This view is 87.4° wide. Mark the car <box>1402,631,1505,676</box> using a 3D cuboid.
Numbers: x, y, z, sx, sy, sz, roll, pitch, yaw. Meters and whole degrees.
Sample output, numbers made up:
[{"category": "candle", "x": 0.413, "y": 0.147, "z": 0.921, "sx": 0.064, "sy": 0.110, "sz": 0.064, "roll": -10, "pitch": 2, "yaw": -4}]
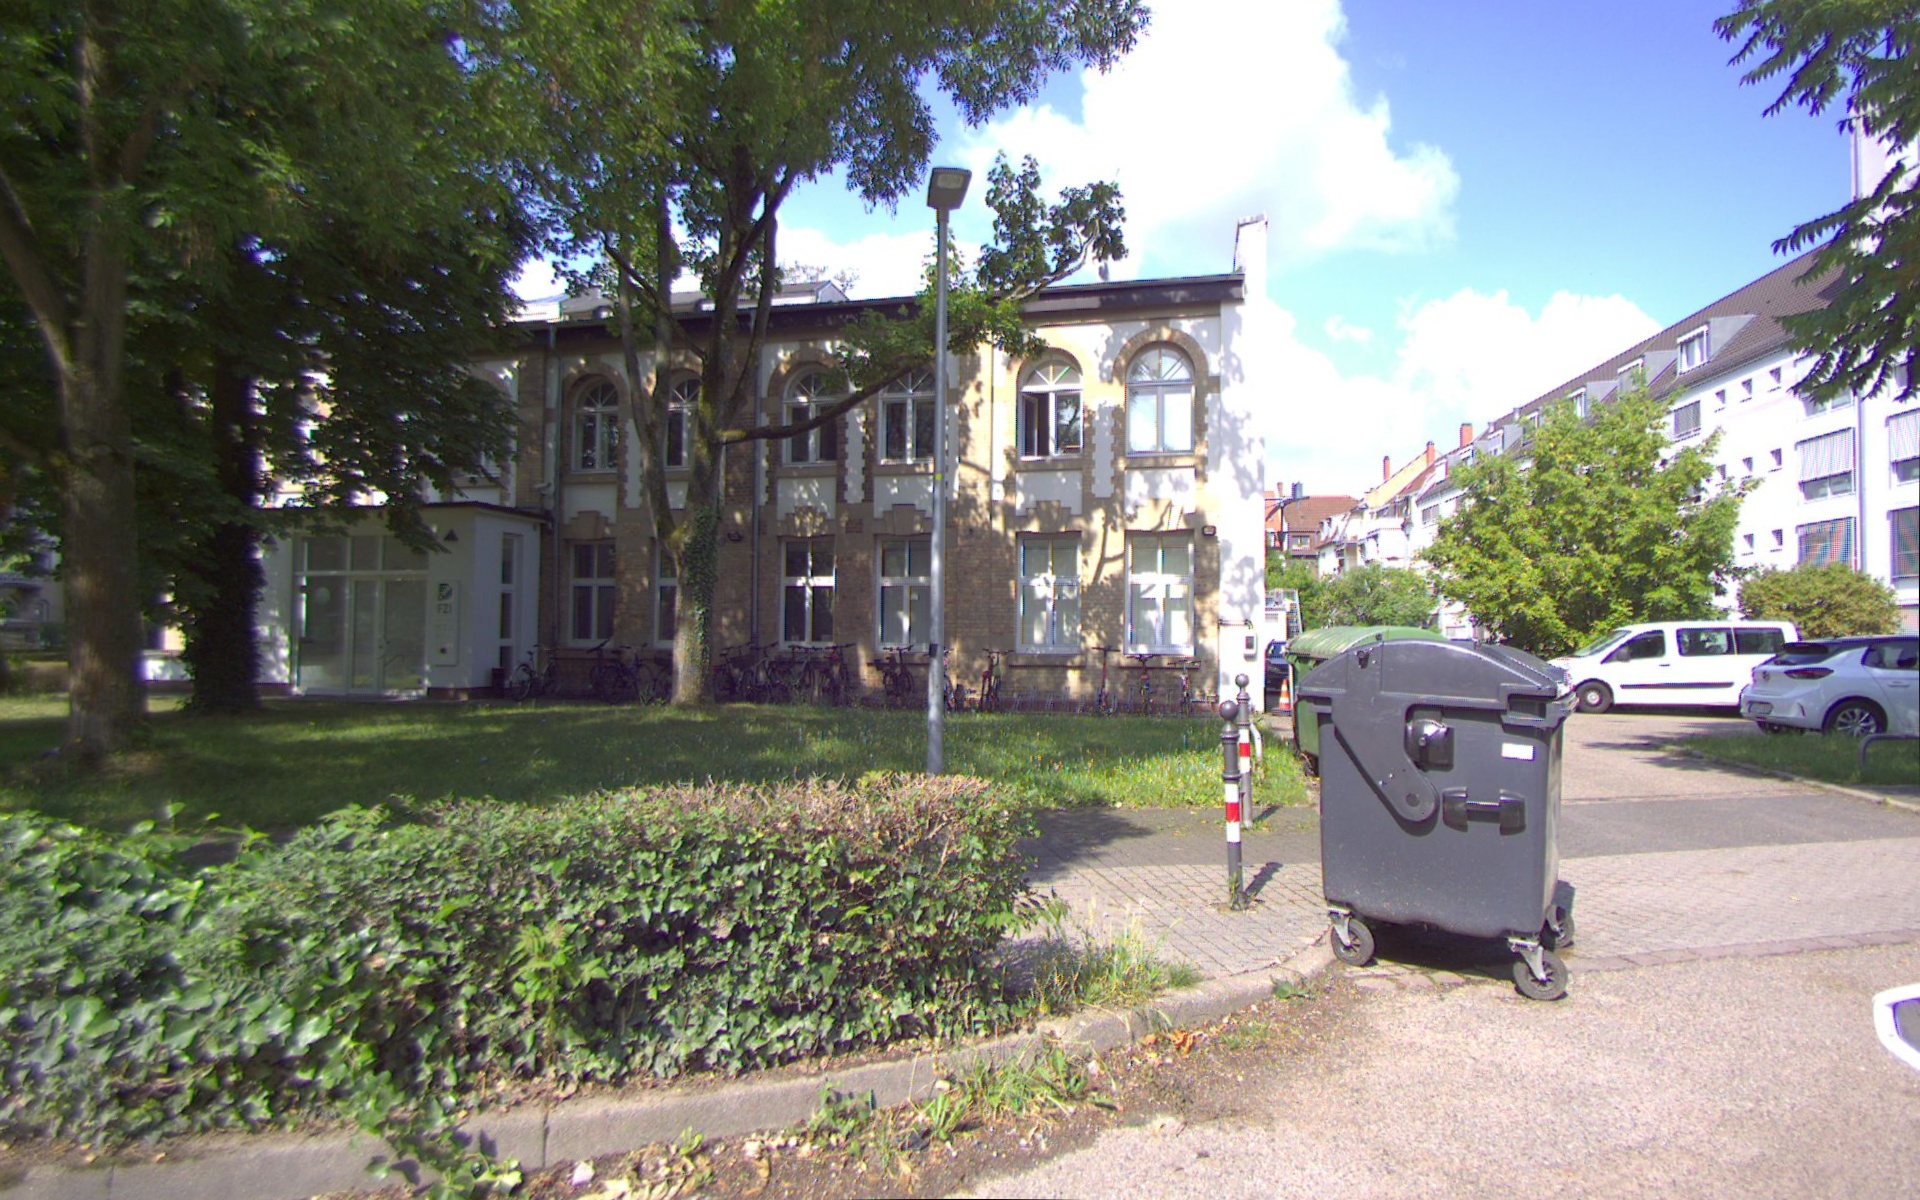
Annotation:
[{"category": "car", "x": 23.496, "y": 2.538, "z": 47.982, "sx": 3.919, "sy": 1.769, "sz": 1.950, "roll": 2, "pitch": 3, "yaw": 8}]

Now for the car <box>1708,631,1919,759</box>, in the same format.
[{"category": "car", "x": 12.479, "y": 1.244, "z": 13.183, "sx": 3.837, "sy": 1.439, "sz": 1.759, "roll": 2, "pitch": 2, "yaw": 13}]

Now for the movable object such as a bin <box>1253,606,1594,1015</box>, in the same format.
[{"category": "movable object such as a bin", "x": 2.182, "y": 0.810, "z": 4.651, "sx": 1.228, "sy": 1.502, "sz": 1.293, "roll": 2, "pitch": -1, "yaw": 33}]

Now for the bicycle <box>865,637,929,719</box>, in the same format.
[{"category": "bicycle", "x": -1.126, "y": 1.382, "z": 18.376, "sx": 0.411, "sy": 1.138, "sz": 2.066, "roll": 5, "pitch": 6, "yaw": 17}]

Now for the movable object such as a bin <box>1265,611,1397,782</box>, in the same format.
[{"category": "movable object such as a bin", "x": 3.635, "y": 0.905, "z": 9.973, "sx": 0.862, "sy": 1.471, "sz": 1.234, "roll": 4, "pitch": 3, "yaw": 7}]

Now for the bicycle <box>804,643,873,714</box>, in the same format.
[{"category": "bicycle", "x": -2.213, "y": 1.408, "z": 18.584, "sx": 0.411, "sy": 1.070, "sz": 2.067, "roll": 5, "pitch": 3, "yaw": 17}]

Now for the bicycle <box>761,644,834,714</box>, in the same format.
[{"category": "bicycle", "x": -3.013, "y": 1.444, "z": 18.813, "sx": 0.411, "sy": 1.070, "sz": 2.067, "roll": 5, "pitch": 3, "yaw": 17}]

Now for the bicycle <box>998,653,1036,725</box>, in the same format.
[{"category": "bicycle", "x": 1.028, "y": 1.554, "z": 17.826, "sx": 0.314, "sy": 1.051, "sz": 1.860, "roll": 5, "pitch": 2, "yaw": 12}]

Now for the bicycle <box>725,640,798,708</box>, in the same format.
[{"category": "bicycle", "x": -3.720, "y": 1.368, "z": 18.975, "sx": 0.411, "sy": 1.070, "sz": 2.067, "roll": 1, "pitch": 2, "yaw": 17}]

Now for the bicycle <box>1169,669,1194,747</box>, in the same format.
[{"category": "bicycle", "x": 3.731, "y": 1.792, "z": 16.968, "sx": 0.314, "sy": 1.051, "sz": 1.860, "roll": 5, "pitch": 2, "yaw": 12}]

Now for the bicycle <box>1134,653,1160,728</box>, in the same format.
[{"category": "bicycle", "x": 3.208, "y": 1.519, "z": 17.193, "sx": 0.314, "sy": 1.051, "sz": 1.860, "roll": 5, "pitch": 2, "yaw": 12}]

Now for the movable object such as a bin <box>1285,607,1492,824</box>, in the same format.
[{"category": "movable object such as a bin", "x": 3.408, "y": 0.867, "z": 8.165, "sx": 1.081, "sy": 1.471, "sz": 1.343, "roll": 4, "pitch": 3, "yaw": 5}]

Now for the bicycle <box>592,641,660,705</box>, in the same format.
[{"category": "bicycle", "x": -6.477, "y": 1.390, "z": 19.586, "sx": 0.314, "sy": 1.051, "sz": 1.860, "roll": 5, "pitch": 2, "yaw": 12}]

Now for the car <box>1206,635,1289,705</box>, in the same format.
[{"category": "car", "x": 7.662, "y": 1.807, "z": 27.112, "sx": 1.847, "sy": 1.461, "sz": 4.343, "roll": 4, "pitch": 1, "yaw": 13}]

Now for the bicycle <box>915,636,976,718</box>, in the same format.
[{"category": "bicycle", "x": -0.238, "y": 1.342, "z": 18.099, "sx": 0.411, "sy": 1.232, "sz": 2.067, "roll": 5, "pitch": 3, "yaw": 17}]

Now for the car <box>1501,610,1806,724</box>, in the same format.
[{"category": "car", "x": 14.456, "y": 1.334, "z": 21.294, "sx": 4.855, "sy": 1.991, "sz": 2.001, "roll": 3, "pitch": 0, "yaw": 15}]

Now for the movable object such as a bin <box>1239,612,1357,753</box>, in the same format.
[{"category": "movable object such as a bin", "x": 3.780, "y": 0.890, "z": 11.364, "sx": 0.927, "sy": 1.367, "sz": 1.234, "roll": 4, "pitch": 3, "yaw": 7}]

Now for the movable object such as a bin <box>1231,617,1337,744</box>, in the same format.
[{"category": "movable object such as a bin", "x": 4.060, "y": 0.979, "z": 12.720, "sx": 0.927, "sy": 1.367, "sz": 1.382, "roll": 4, "pitch": 3, "yaw": 7}]

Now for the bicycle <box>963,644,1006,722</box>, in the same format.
[{"category": "bicycle", "x": 0.456, "y": 1.441, "z": 17.944, "sx": 0.351, "sy": 1.158, "sz": 1.860, "roll": 5, "pitch": 3, "yaw": 12}]

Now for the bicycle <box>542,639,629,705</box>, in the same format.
[{"category": "bicycle", "x": -7.242, "y": 1.361, "z": 19.530, "sx": 0.411, "sy": 1.070, "sz": 2.067, "roll": 1, "pitch": 2, "yaw": 17}]
